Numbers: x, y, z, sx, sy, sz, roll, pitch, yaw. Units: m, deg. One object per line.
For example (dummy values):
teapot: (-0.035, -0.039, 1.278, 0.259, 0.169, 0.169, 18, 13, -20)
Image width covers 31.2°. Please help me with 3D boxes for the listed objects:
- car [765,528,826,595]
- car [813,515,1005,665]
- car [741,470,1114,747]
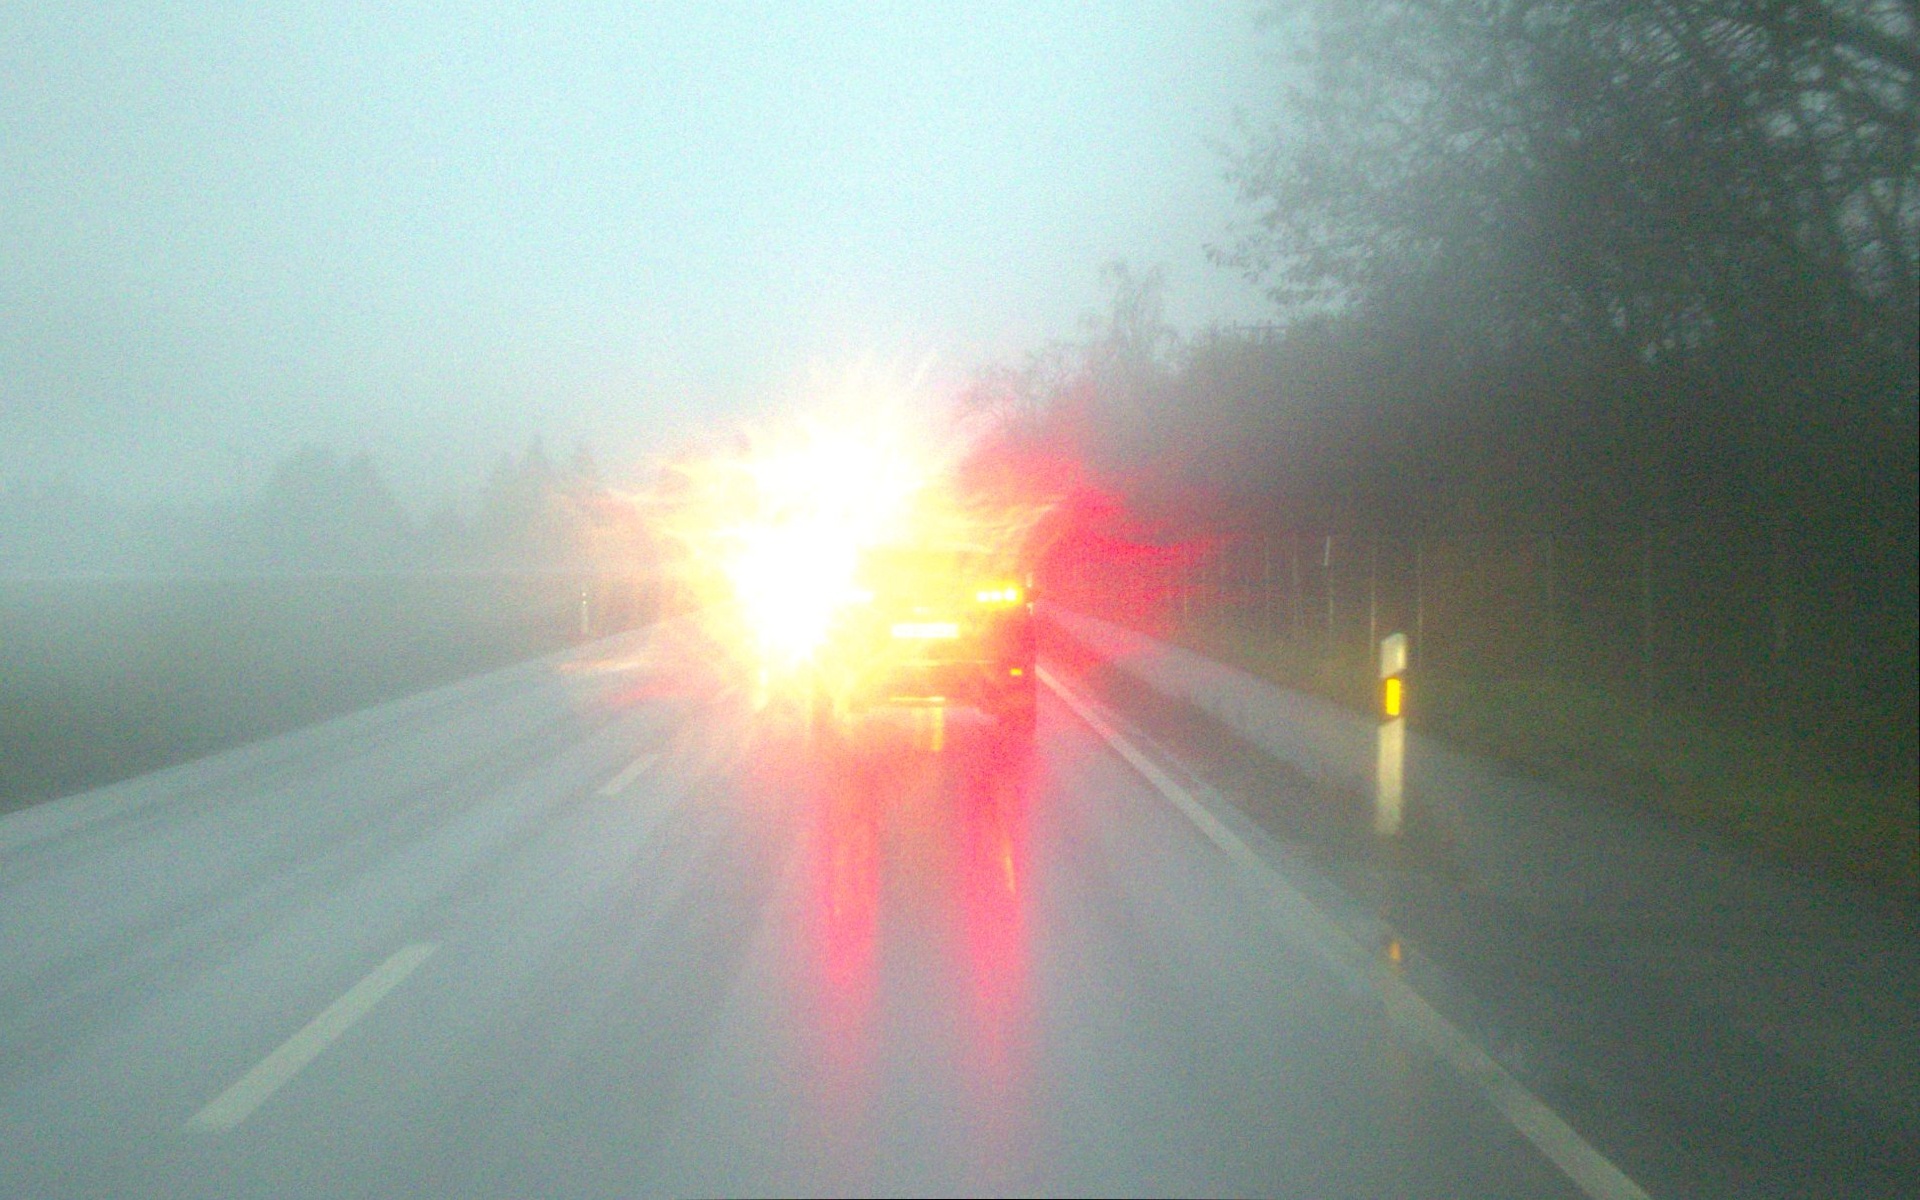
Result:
car: (-5.390, -1.270, 112.840, 1.915, 2.130, 4.314, -1, 1, -2)
car: (-0.694, -0.175, 49.980, 2.592, 2.007, 5.804, 1, 1, 0)
car: (-0.253, 0.029, 29.225, 2.820, 2.070, 5.804, 1, 1, 0)
